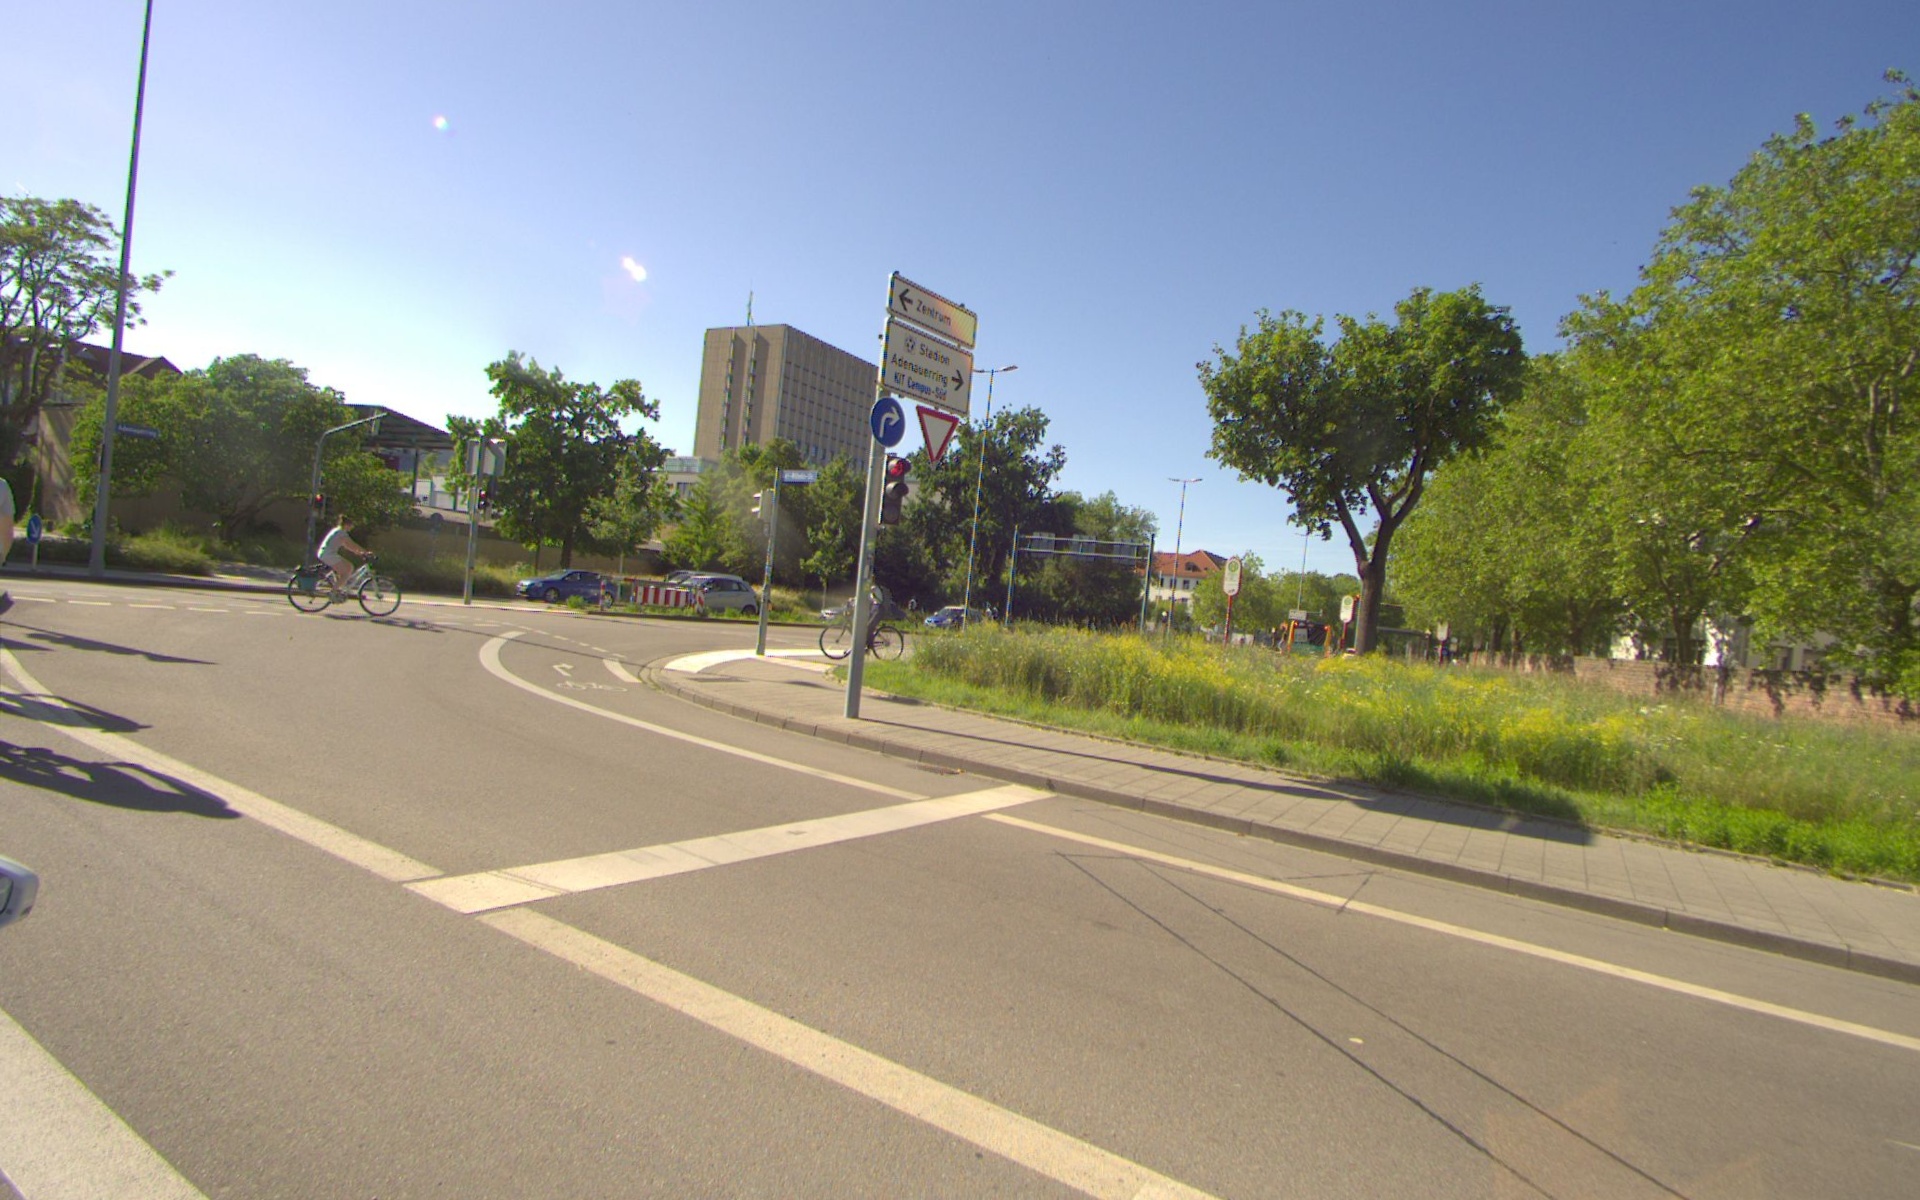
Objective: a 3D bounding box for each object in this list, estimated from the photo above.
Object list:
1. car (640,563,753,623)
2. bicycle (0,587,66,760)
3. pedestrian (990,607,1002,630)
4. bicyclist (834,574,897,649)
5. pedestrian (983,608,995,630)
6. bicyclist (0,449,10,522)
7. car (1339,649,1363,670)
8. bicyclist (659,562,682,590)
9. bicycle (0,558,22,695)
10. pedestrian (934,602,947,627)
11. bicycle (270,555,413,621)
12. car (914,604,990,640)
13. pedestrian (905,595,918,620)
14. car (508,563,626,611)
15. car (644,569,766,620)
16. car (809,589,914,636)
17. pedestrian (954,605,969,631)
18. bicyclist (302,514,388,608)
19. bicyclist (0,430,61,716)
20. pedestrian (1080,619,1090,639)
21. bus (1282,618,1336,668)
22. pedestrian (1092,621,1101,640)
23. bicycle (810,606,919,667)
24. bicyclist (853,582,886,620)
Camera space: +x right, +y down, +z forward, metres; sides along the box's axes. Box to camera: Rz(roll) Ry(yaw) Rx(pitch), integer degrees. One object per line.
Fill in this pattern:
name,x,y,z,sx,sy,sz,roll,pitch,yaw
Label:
car,-12.304,-0.272,47.331,1.968,2.131,4.885,6,-2,34
bicycle,-6.285,0.353,6.092,1.946,0.906,0.741,6,-2,33
pedestrian,2.851,1.493,80.123,0.519,1.801,0.561,7,1,35
bicyclist,-1.878,0.220,19.957,0.992,1.368,0.514,6,1,-26
pedestrian,2.308,1.524,80.506,0.519,1.716,0.561,7,1,35
bicyclist,-8.128,-0.372,7.781,1.048,1.759,0.647,7,-1,26
car,33.824,5.140,86.999,1.668,1.525,3.773,6,0,23
bicyclist,-15.070,-1.253,52.371,0.684,1.335,0.825,8,5,30
bicycle,-8.194,0.089,7.776,1.935,1.014,0.661,6,-1,26
pedestrian,-1.484,1.115,76.147,0.519,1.801,0.561,7,1,35
bicycle,-10.810,-0.192,17.634,0.731,1.008,1.979,6,2,41
car,-0.378,1.116,50.373,1.758,1.448,3.989,6,0,34
pedestrian,-3.498,0.546,72.960,0.519,1.800,0.561,7,1,34
car,-16.084,-0.513,41.340,1.717,1.453,4.162,7,0,38
car,-9.425,-0.190,37.431,1.840,1.426,4.046,6,0,38
car,-4.301,0.581,44.711,1.968,1.604,4.735,6,0,34
pedestrian,0.111,1.351,75.746,0.702,1.872,0.561,7,1,35
bicyclist,-10.759,-0.675,17.607,0.731,1.519,1.066,7,2,41
bicyclist,-6.210,-0.217,6.092,1.000,1.688,0.752,6,-1,33
pedestrian,11.841,2.746,95.367,0.519,1.801,0.561,7,1,35
bus,24.187,3.069,69.411,2.745,2.662,10.119,7,-2,22
pedestrian,12.962,2.904,95.612,0.519,1.801,0.561,7,1,35
bicycle,-1.886,0.731,19.989,2.036,1.007,0.514,7,0,-26
bicyclist,-4.408,0.056,48.916,0.778,1.649,1.315,7,1,37
